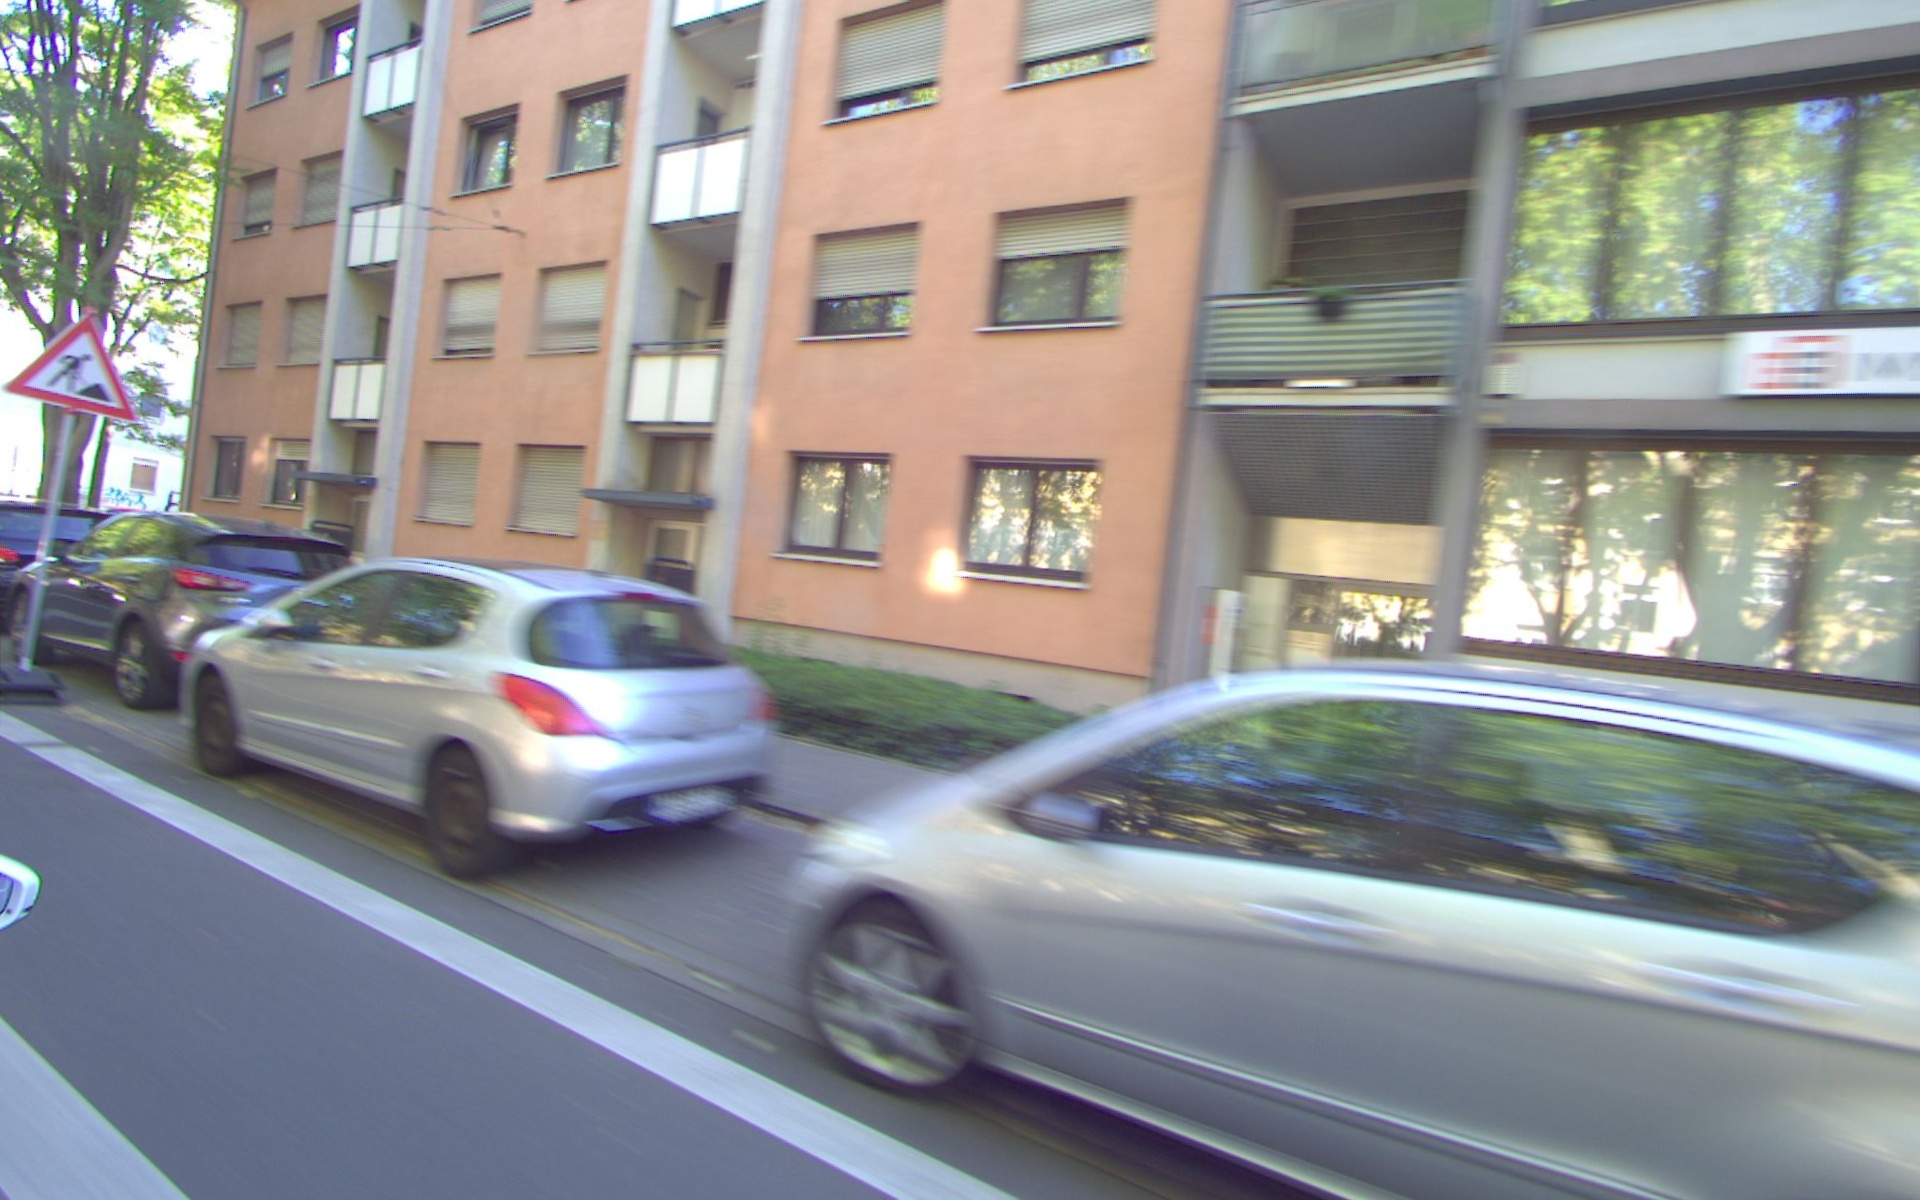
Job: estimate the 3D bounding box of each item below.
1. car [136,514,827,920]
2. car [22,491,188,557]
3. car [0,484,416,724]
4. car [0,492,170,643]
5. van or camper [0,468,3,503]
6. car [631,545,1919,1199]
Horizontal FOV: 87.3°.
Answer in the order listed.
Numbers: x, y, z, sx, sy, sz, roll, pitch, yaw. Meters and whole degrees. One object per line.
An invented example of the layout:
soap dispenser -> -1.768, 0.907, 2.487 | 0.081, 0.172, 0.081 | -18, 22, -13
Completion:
car -> -3.108, 0.459, 6.255 | 4.250, 1.542, 1.789 | 7, 2, 32
car -> -28.885, -2.530, 34.105 | 1.535, 1.500, 3.920 | 10, 1, 31
car -> -7.060, -0.066, 9.144 | 4.265, 1.593, 1.768 | 7, 2, 32
car -> -11.248, -0.511, 11.833 | 4.099, 1.491, 1.707 | 7, 0, 32
van or camper -> -16.038, -1.215, 14.701 | 4.750, 1.887, 1.757 | 7, 0, 32
car -> 1.073, 0.867, 3.437 | 4.205, 1.649, 1.793 | 7, 2, 32
